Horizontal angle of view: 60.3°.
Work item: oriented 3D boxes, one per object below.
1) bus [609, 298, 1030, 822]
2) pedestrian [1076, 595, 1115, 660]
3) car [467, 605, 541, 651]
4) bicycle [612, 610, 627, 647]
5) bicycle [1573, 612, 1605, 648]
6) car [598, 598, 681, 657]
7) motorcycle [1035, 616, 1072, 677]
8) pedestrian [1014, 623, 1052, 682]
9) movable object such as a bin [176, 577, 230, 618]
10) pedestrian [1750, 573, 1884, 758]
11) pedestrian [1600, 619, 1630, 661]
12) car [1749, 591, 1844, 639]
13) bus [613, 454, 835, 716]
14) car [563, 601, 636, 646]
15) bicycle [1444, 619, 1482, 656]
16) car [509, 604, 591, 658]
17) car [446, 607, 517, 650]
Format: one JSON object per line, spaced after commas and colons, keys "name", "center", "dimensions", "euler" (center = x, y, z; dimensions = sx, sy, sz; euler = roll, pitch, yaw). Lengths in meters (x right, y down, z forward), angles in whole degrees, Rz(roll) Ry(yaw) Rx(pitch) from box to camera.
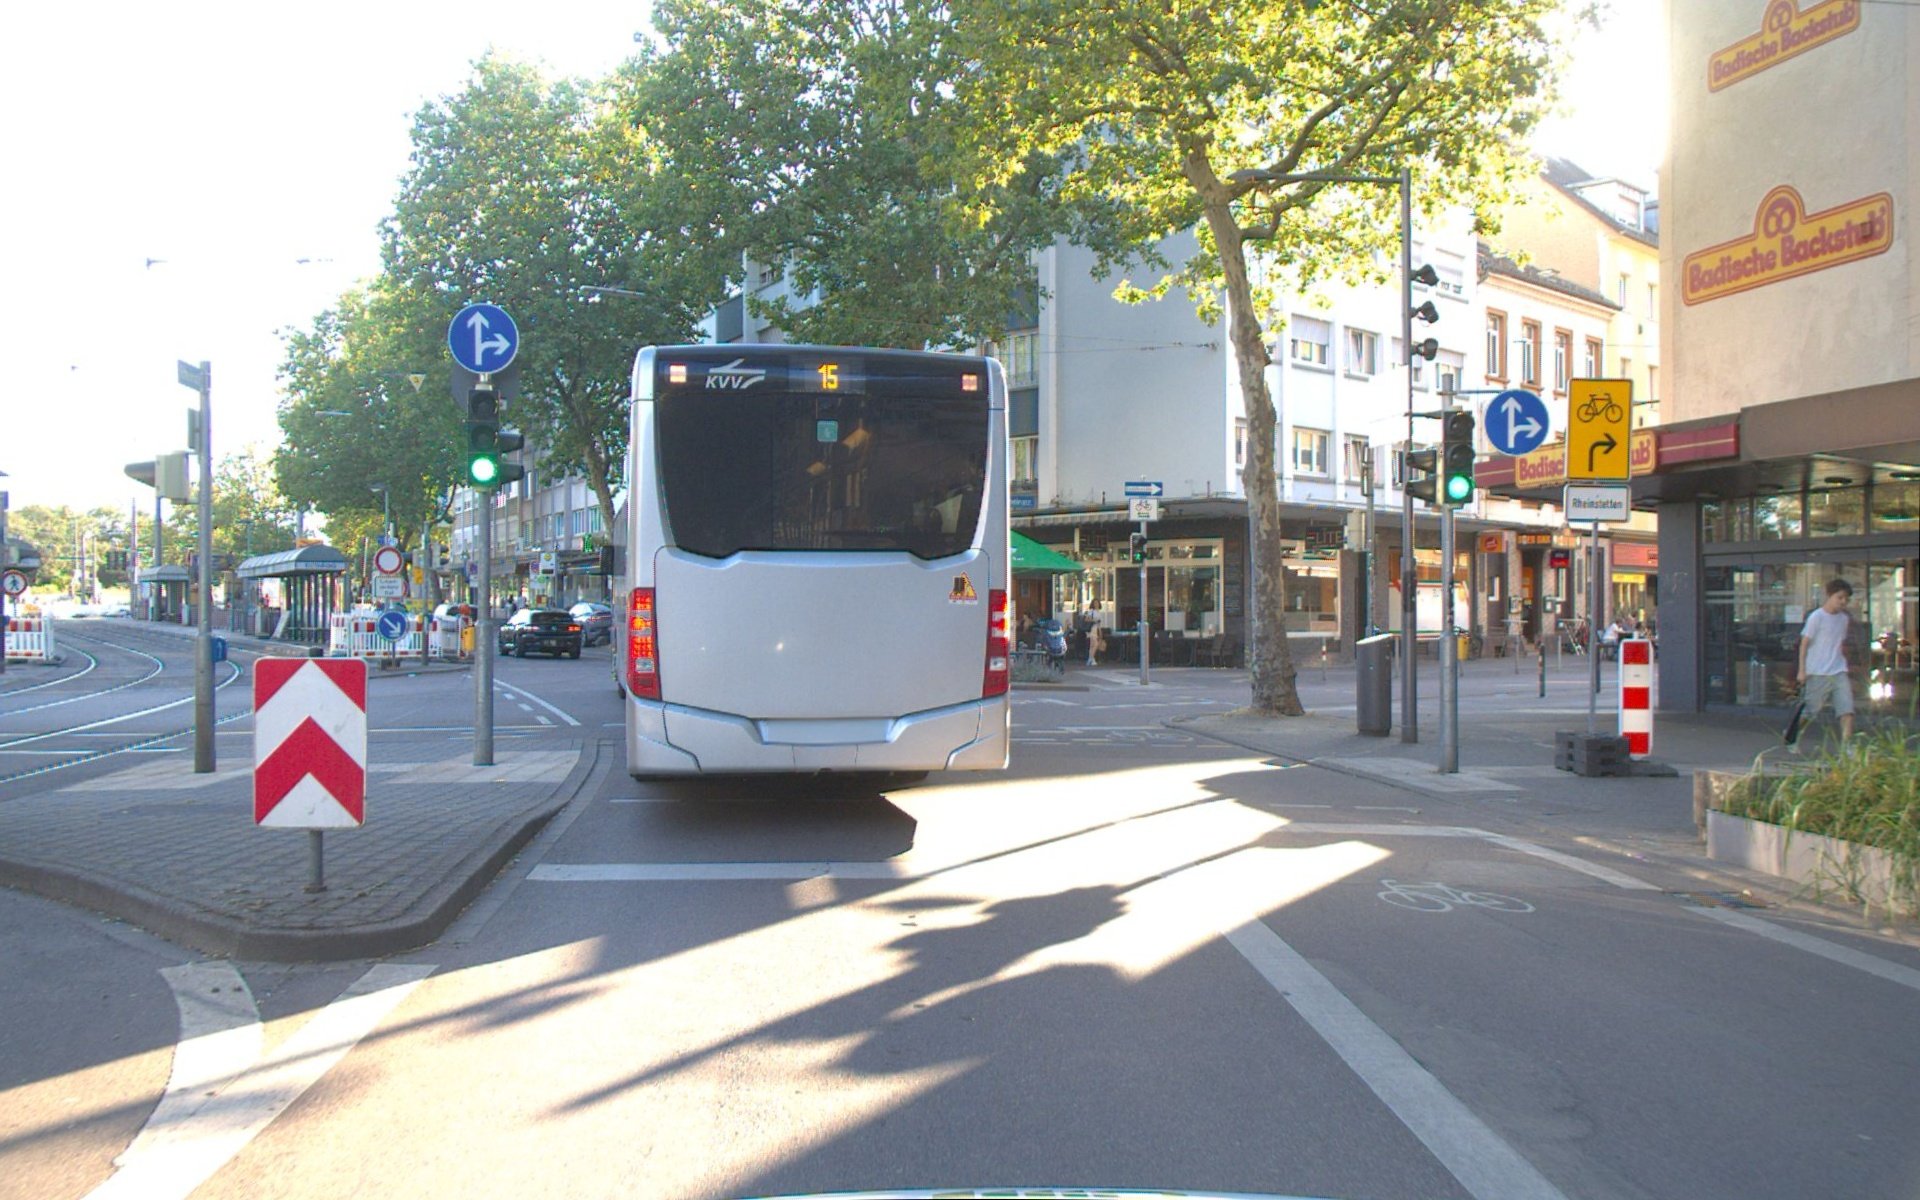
{"name": "bus", "center": [-1.797, -0.195, 15.229], "dimensions": [2.610, 3.153, 10.187], "euler": [0, -1, -11]}
{"name": "pedestrian", "center": [3.328, 0.675, 40.759], "dimensions": [0.599, 1.575, 0.705], "euler": [2, -1, -45]}
{"name": "car", "center": [-15.511, 0.915, 56.158], "dimensions": [1.734, 1.490, 3.967], "euler": [0, 0, -26]}
{"name": "bicycle", "center": [-11.786, 0.975, 57.193], "dimensions": [0.498, 1.232, 2.086], "euler": [0, 0, -12]}
{"name": "bicycle", "center": [20.563, 0.974, 54.054], "dimensions": [0.290, 1.058, 1.707], "euler": [-3, 0, 43]}
{"name": "car", "center": [-9.434, 0.789, 48.468], "dimensions": [1.735, 1.656, 3.587], "euler": [0, 0, -22]}
{"name": "motorcycle", "center": [1.872, 0.919, 33.266], "dimensions": [0.558, 1.178, 1.460], "euler": [2, -1, -2]}
{"name": "pedestrian", "center": [1.608, 1.153, 36.552], "dimensions": [0.543, 1.265, 0.726], "euler": [2, 0, -25]}
{"name": "movable object such as a bin", "center": [-48.082, -0.157, 105.026], "dimensions": [2.470, 2.520, 5.296], "euler": [0, 0, -32]}
{"name": "pedestrian", "center": [8.416, 0.620, 16.263], "dimensions": [0.821, 1.742, 0.790], "euler": [-2, 1, -16]}
{"name": "pedestrian", "center": [19.969, 1.211, 50.427], "dimensions": [0.540, 1.265, 0.730], "euler": [2, 0, -11]}
{"name": "car", "center": [28.792, 0.485, 56.893], "dimensions": [1.812, 1.521, 3.971], "euler": [2, 2, 45]}
{"name": "bus", "center": [-3.903, -0.130, 25.175], "dimensions": [2.611, 3.153, 10.183], "euler": [0, -1, -12]}
{"name": "car", "center": [-13.217, 0.836, 60.548], "dimensions": [1.644, 1.494, 3.379], "euler": [-3, 2, -29]}
{"name": "bicycle", "center": [14.494, 1.078, 47.618], "dimensions": [0.290, 1.059, 1.707], "euler": [-3, -3, 43]}
{"name": "car", "center": [-11.888, 0.850, 47.833], "dimensions": [1.732, 1.490, 3.972], "euler": [0, 0, -23]}
{"name": "car", "center": [-17.302, 1.012, 59.717], "dimensions": [1.736, 1.490, 3.963], "euler": [0, 0, -28]}
